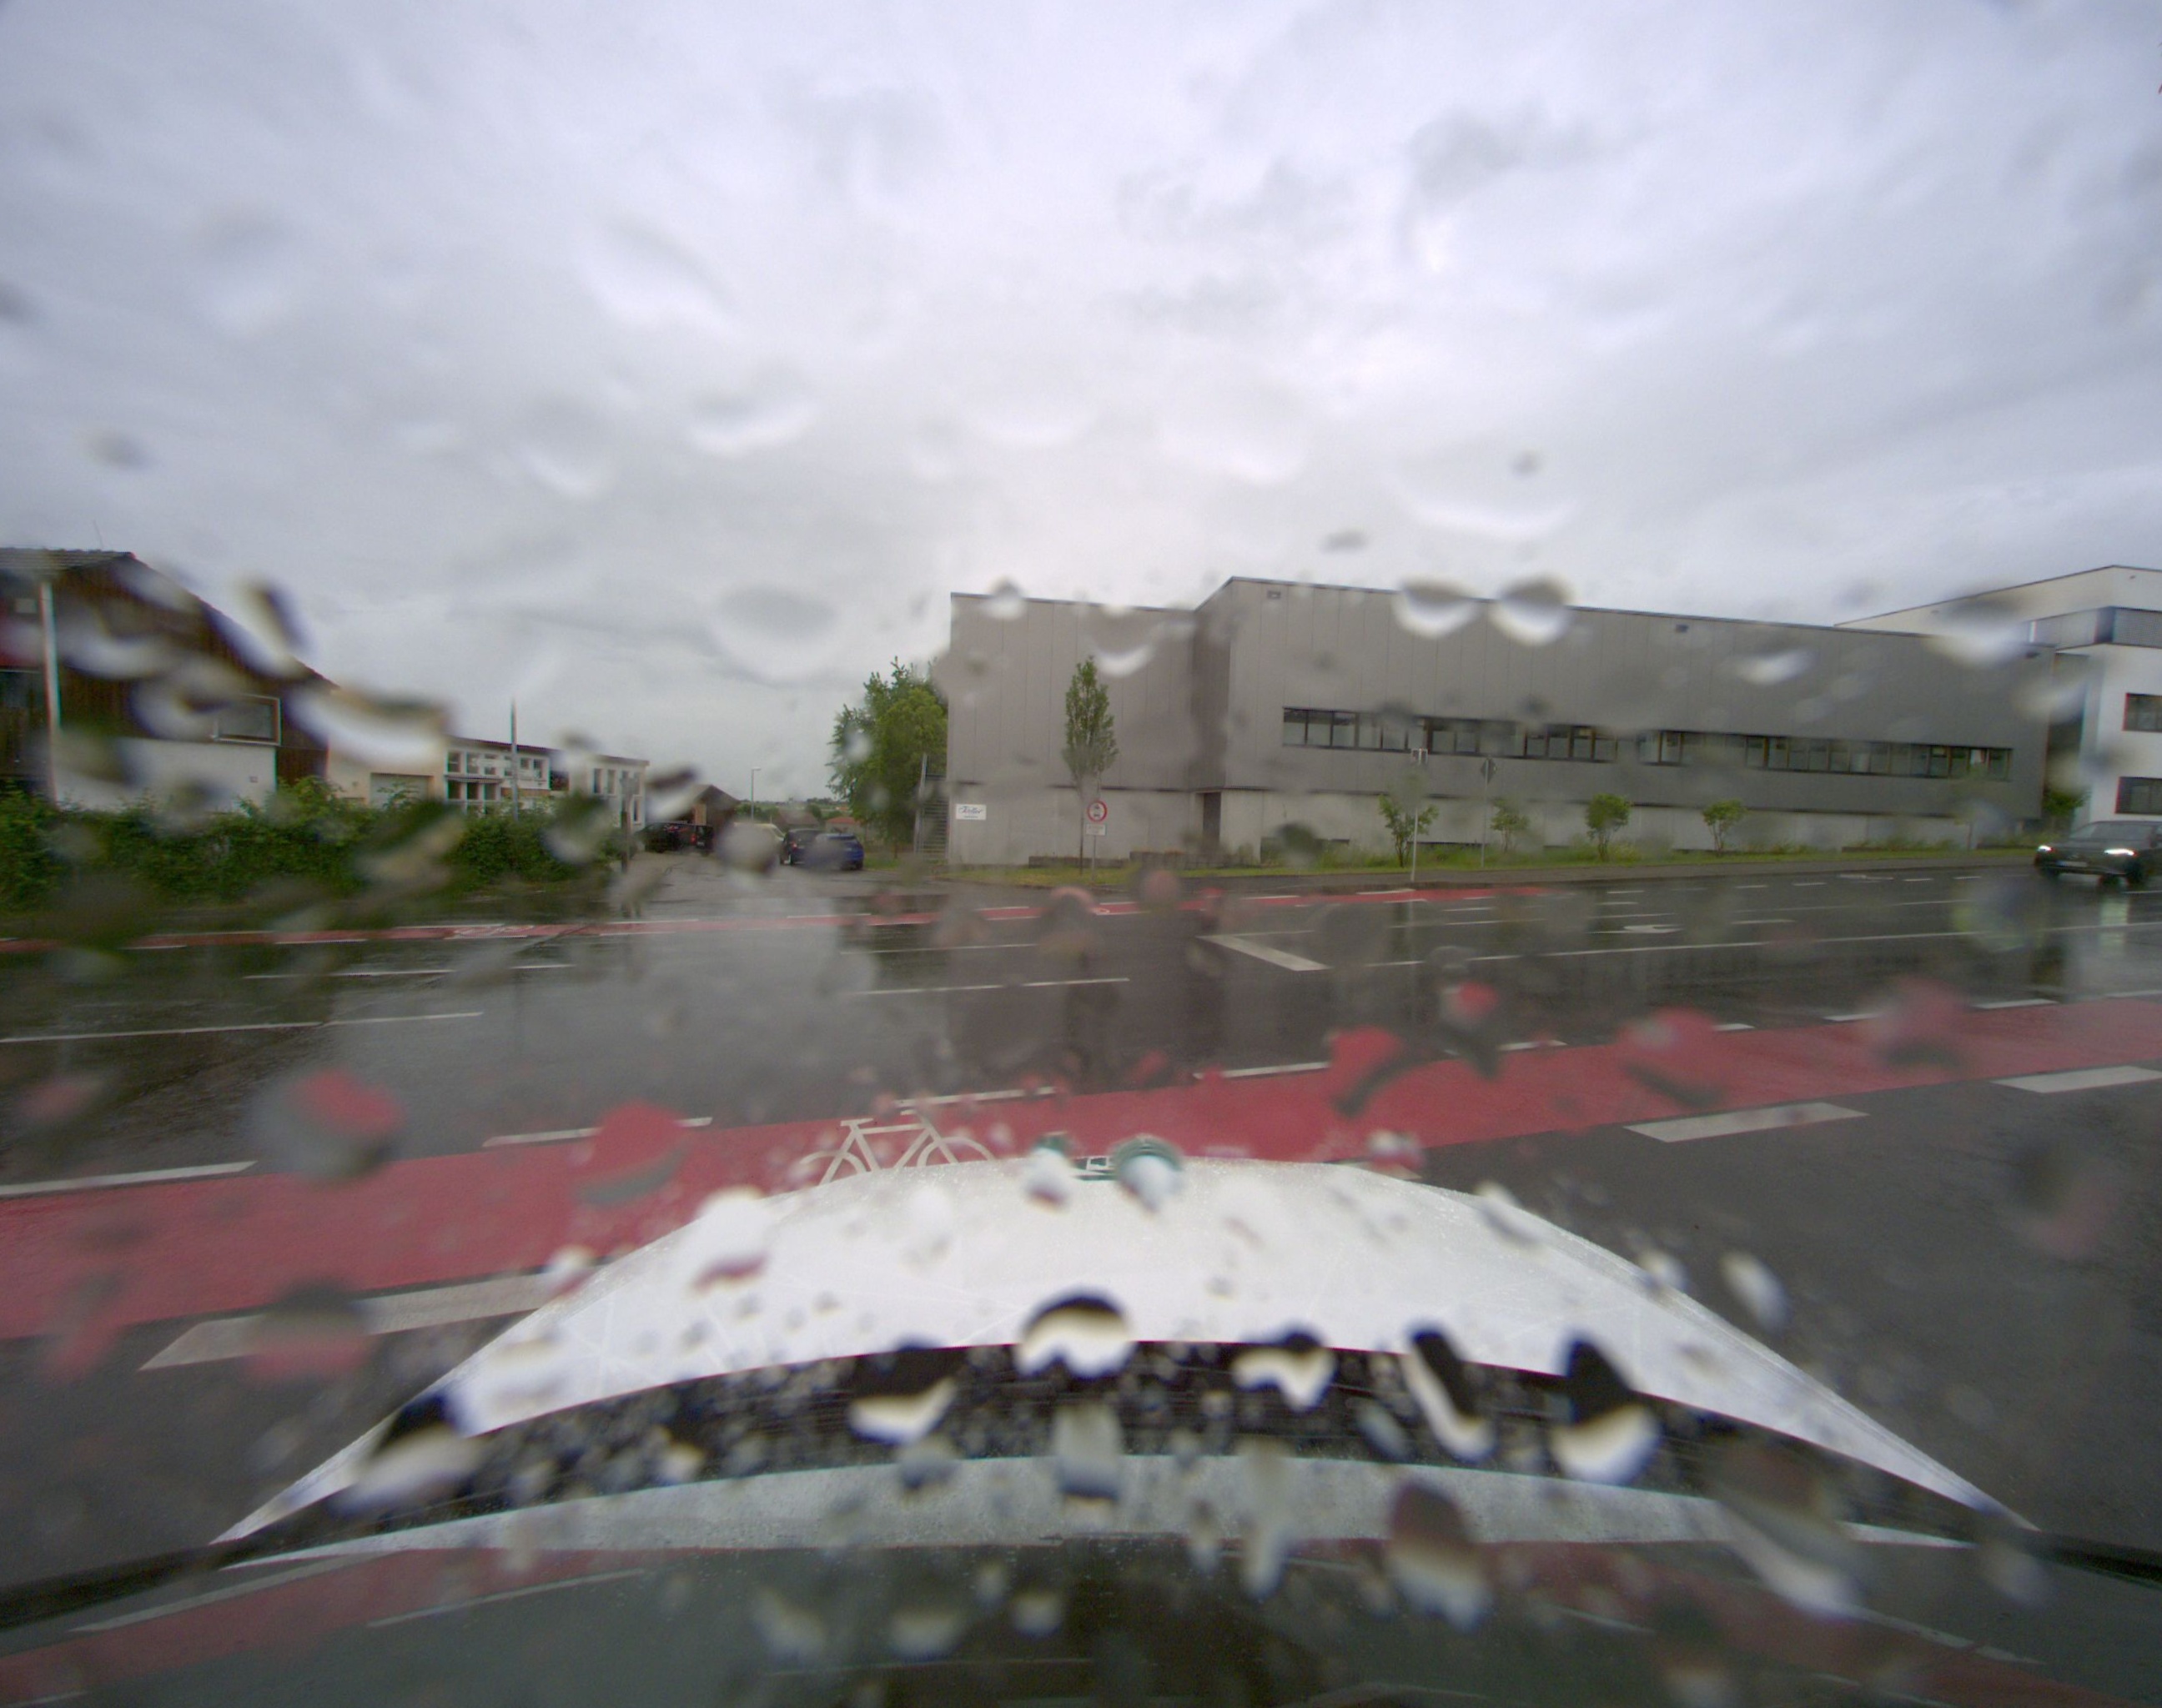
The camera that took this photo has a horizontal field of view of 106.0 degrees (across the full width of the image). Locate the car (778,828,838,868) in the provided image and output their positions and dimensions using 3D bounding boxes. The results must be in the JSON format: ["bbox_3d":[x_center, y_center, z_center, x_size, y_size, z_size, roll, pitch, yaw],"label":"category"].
[{"bbox_3d":[-13.242,-0.314,39.344,2.086,1.834,4.431,-1,1,-28],"label":"car"}]

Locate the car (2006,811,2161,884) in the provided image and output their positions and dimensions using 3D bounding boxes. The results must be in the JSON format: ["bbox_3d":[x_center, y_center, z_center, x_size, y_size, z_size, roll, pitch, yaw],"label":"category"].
[{"bbox_3d":[29.097,-0.212,22.351,6.872,1.815,2.348,0,1,-18],"label":"car"}]

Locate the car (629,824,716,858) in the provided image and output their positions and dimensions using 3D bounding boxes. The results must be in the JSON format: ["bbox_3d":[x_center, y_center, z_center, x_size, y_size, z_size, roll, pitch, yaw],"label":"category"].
[{"bbox_3d":[-23.711,-0.728,47.347,4.359,1.905,2.010,0,1,19],"label":"car"}]

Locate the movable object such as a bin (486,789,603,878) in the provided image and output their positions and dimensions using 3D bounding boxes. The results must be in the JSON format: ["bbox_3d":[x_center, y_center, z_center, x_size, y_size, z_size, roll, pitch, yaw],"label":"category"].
[{"bbox_3d":[-16.479,-0.616,25.211,1.732,2.556,3.330,0,1,-9],"label":"movable object such as a bin"}]

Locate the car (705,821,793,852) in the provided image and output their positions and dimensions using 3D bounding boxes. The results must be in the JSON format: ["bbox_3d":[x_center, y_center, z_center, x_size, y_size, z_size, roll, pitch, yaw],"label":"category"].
[{"bbox_3d":[-26.512,-1.414,65.169,5.995,2.415,2.461,0,1,-3],"label":"car"}]

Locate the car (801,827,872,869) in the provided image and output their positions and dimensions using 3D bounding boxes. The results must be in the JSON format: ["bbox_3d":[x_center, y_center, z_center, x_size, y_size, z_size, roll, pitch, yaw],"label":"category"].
[{"bbox_3d":[-10.279,-0.276,33.990,1.963,1.610,4.406,-1,1,-29],"label":"car"}]
